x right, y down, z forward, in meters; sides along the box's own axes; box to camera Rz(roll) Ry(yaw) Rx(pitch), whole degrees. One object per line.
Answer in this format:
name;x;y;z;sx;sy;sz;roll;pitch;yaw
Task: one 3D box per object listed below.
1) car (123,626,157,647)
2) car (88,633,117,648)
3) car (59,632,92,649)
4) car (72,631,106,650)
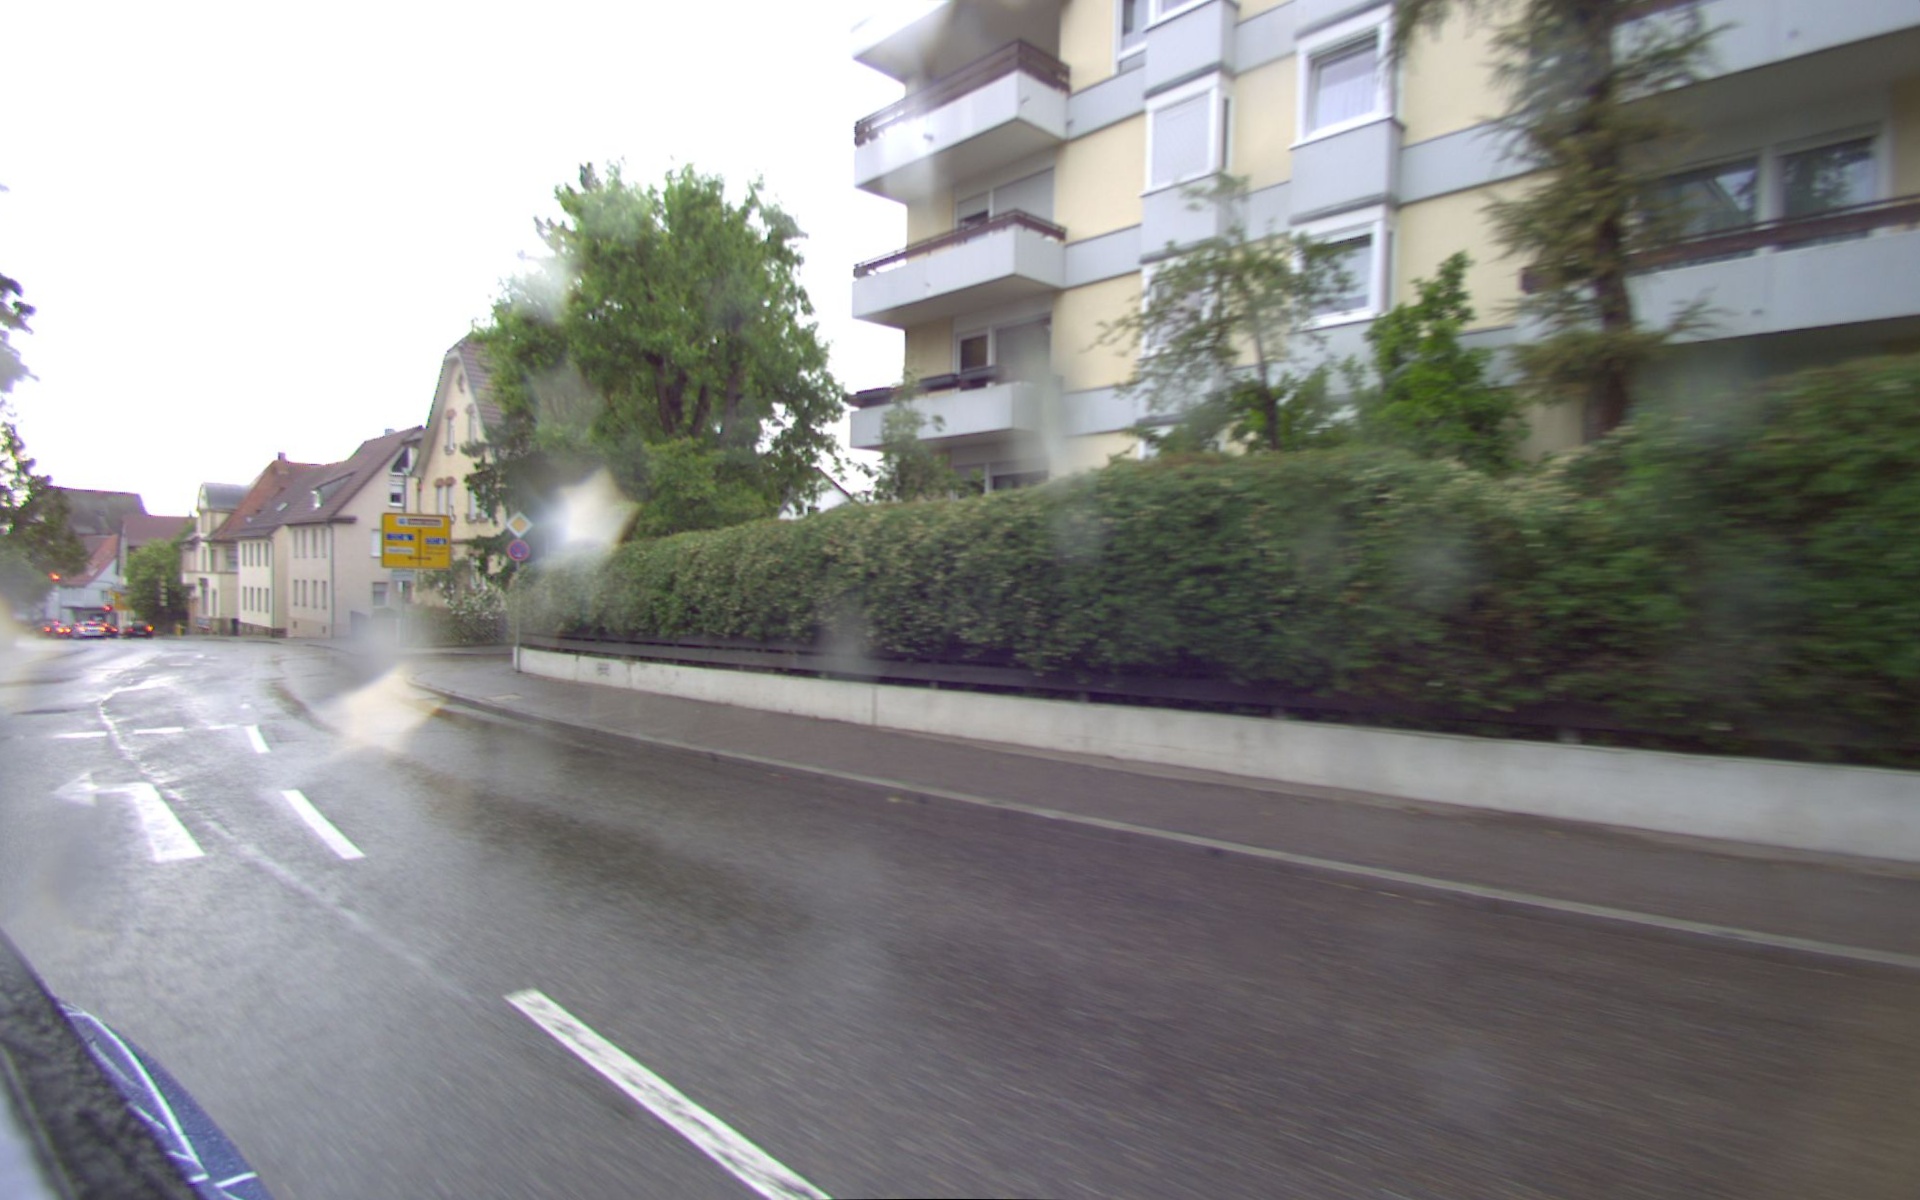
car;-66.836;2.951;82.424;1.725;1.583;3.815;-4;1;-45
car;-83.982;3.943;99.080;4.059;1.364;1.718;-2;-2;43
car;-76.739;3.504;87.779;4.689;1.450;1.779;-2;-2;43
car;-70.778;3.256;82.215;1.778;1.450;4.691;0;-2;-45
